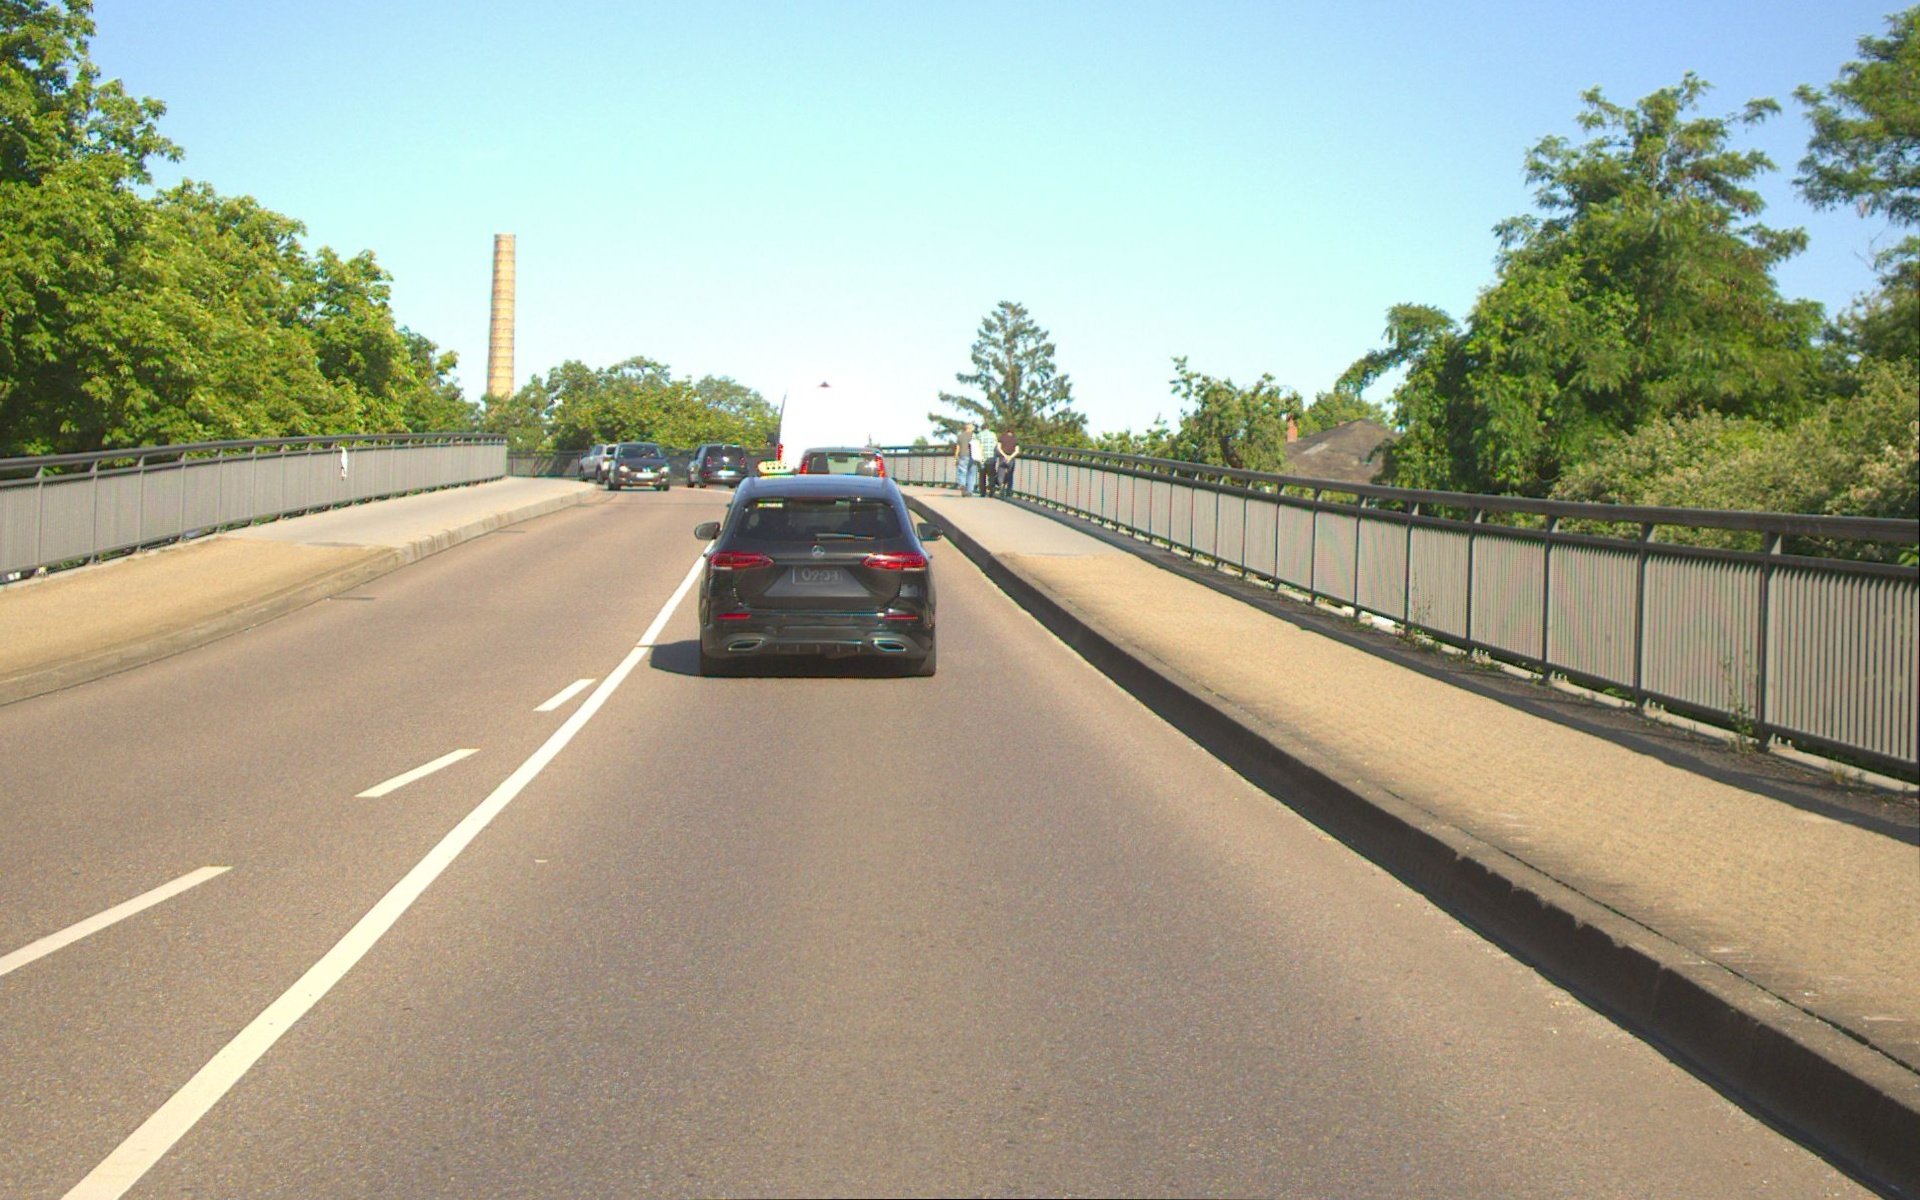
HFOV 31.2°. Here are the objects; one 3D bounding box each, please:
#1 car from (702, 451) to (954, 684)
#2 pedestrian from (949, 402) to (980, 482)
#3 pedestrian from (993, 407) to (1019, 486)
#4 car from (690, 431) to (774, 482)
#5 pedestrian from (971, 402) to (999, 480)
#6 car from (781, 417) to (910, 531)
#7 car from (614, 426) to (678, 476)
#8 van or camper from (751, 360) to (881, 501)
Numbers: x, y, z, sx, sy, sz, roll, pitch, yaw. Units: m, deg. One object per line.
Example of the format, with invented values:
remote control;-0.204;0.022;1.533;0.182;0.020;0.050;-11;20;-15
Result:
car;-1.084;-0.319;26.937;1.769;1.587;3.990;2;3;-4
pedestrian;0.103;-3.555;77.532;0.602;1.744;0.717;2;0;-2
pedestrian;1.033;-3.462;77.479;0.471;1.744;0.654;2;0;-2
car;-7.609;-4.799;115.180;1.919;1.483;4.268;1;-1;9
pedestrian;0.569;-3.619;78.337;0.549;1.744;0.739;2;0;-2
car;-1.740;-1.935;53.290;1.804;1.634;4.000;2;2;0
car;-9.457;-4.498;103.784;1.769;1.469;3.990;0;3;-3
van or camper;-3.193;-3.611;74.787;2.226;2.730;7.082;2;1;-6
